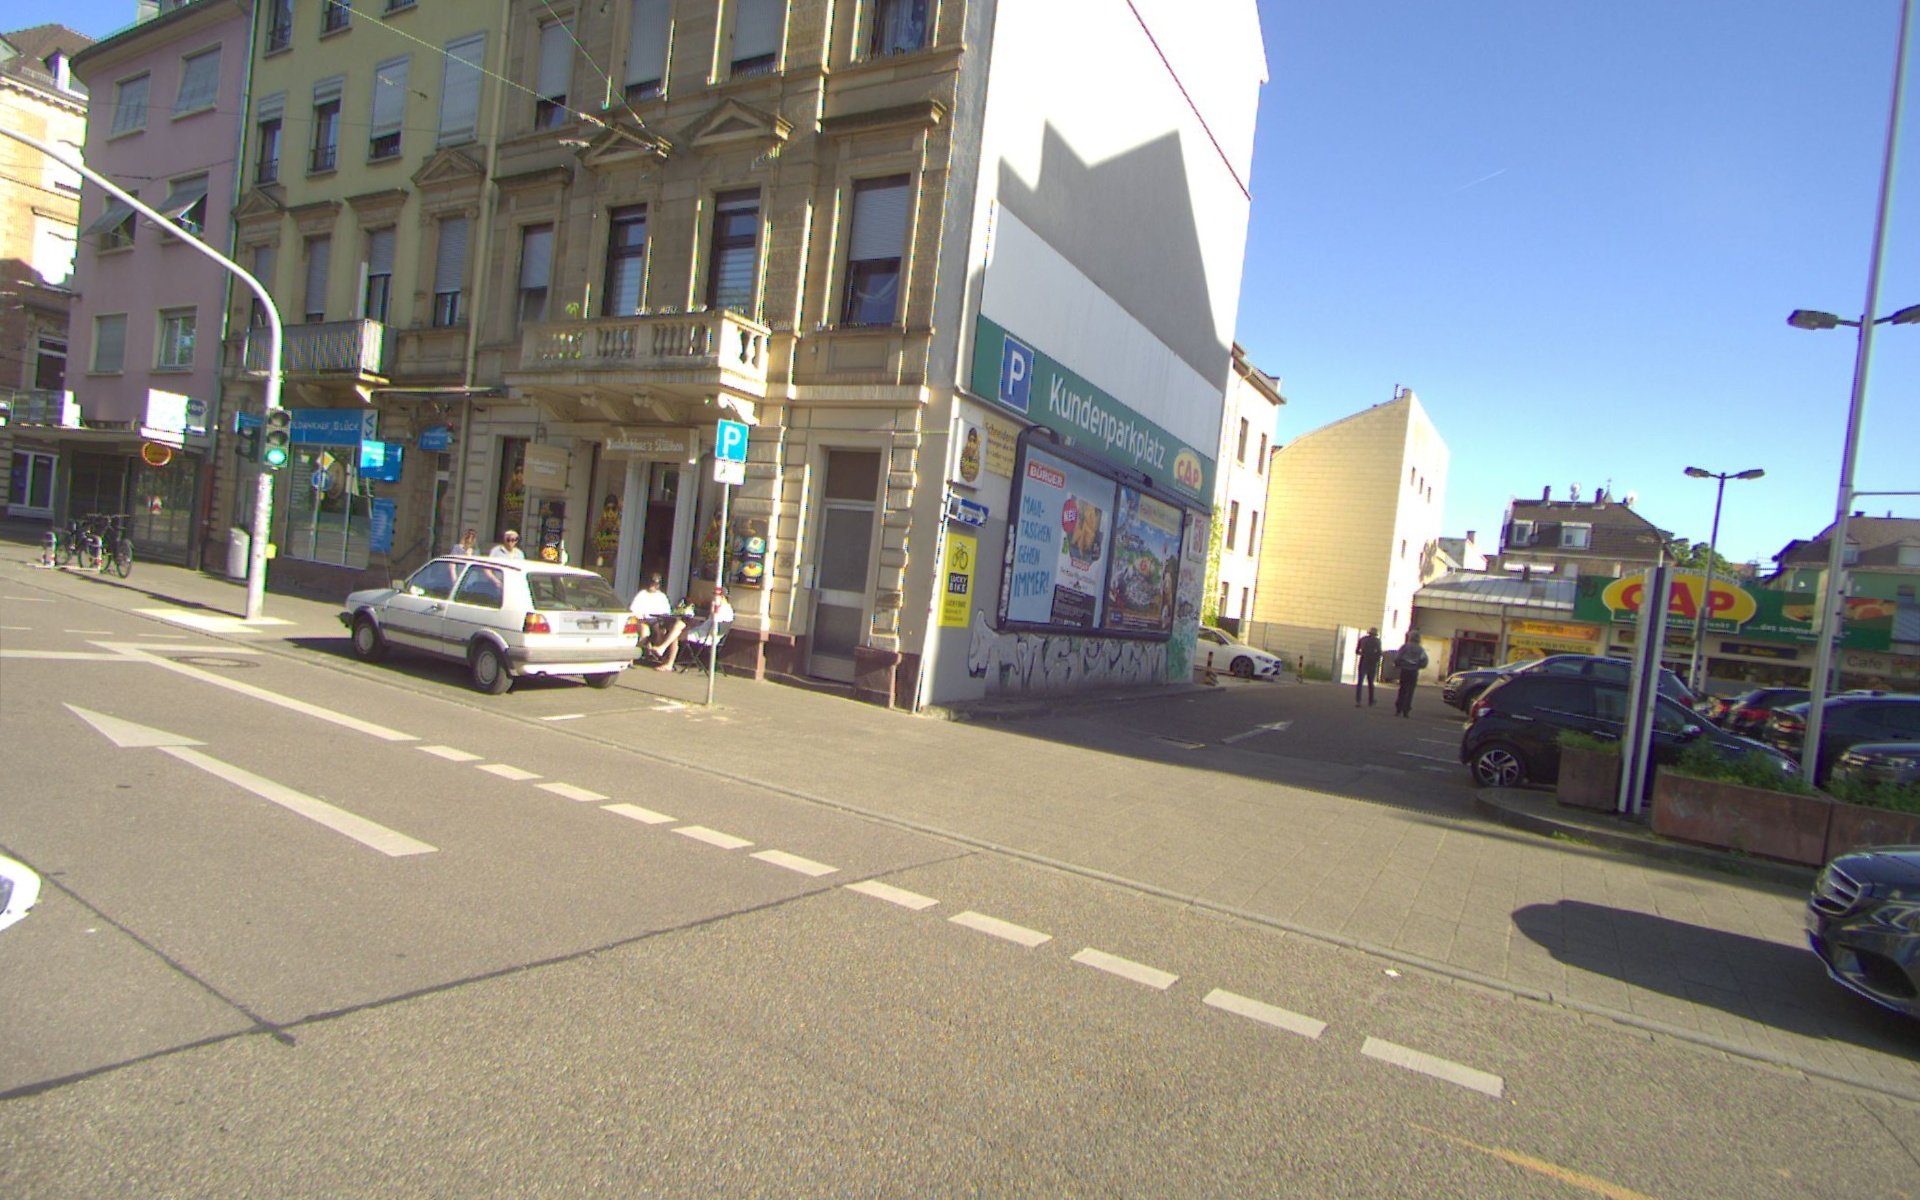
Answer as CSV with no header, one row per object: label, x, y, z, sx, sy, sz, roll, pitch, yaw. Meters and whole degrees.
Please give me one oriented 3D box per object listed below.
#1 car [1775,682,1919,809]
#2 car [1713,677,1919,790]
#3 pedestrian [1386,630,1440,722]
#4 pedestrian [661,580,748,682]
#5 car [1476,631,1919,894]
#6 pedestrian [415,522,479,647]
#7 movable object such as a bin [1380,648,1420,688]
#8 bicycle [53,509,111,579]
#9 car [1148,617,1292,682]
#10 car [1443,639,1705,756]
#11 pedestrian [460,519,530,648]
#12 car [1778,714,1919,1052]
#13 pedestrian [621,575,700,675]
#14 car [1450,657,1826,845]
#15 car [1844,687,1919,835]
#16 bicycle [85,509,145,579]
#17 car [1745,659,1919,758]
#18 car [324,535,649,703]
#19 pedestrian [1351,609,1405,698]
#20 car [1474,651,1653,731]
car,14.305,2.238,14.298,3.871,1.564,1.543,7,1,30
car,16.399,2.468,18.417,3.872,1.564,1.543,7,1,31
pedestrian,9.355,1.558,20.799,0.748,1.778,0.513,7,1,13
pedestrian,-3.519,0.415,13.881,0.644,1.299,0.901,7,4,27
car,7.060,1.391,9.354,3.835,1.667,1.651,8,3,28
pedestrian,-7.399,-0.212,14.516,0.382,1.730,0.550,8,2,34
movable object such as a bin,18.844,2.918,43.084,1.258,1.527,1.174,7,1,31
bicycle,-16.521,-1.063,18.917,1.782,1.155,0.414,7,1,38
car,8.151,1.544,31.662,3.933,1.482,1.756,7,1,32
car,12.566,1.938,20.852,4.309,1.687,1.756,7,1,32
pedestrian,-6.913,-0.240,14.974,0.522,1.831,0.673,7,4,31
car,6.989,1.721,4.635,4.656,1.507,1.832,7,3,32
pedestrian,-4.176,0.335,14.062,0.598,1.299,0.797,7,4,29
car,7.723,1.650,11.849,3.336,1.504,1.561,7,1,28
car,13.373,2.176,11.891,3.931,1.714,1.747,7,0,29
bicycle,-16.251,-1.087,19.340,1.731,1.173,0.448,7,1,38
car,18.649,2.257,20.461,3.872,1.601,1.658,7,1,31
car,-5.697,0.136,11.950,3.937,1.435,1.562,7,4,32
pedestrian,9.309,1.183,22.428,0.748,1.864,0.748,7,1,10
car,16.430,2.443,27.538,3.933,1.538,1.723,7,1,31
